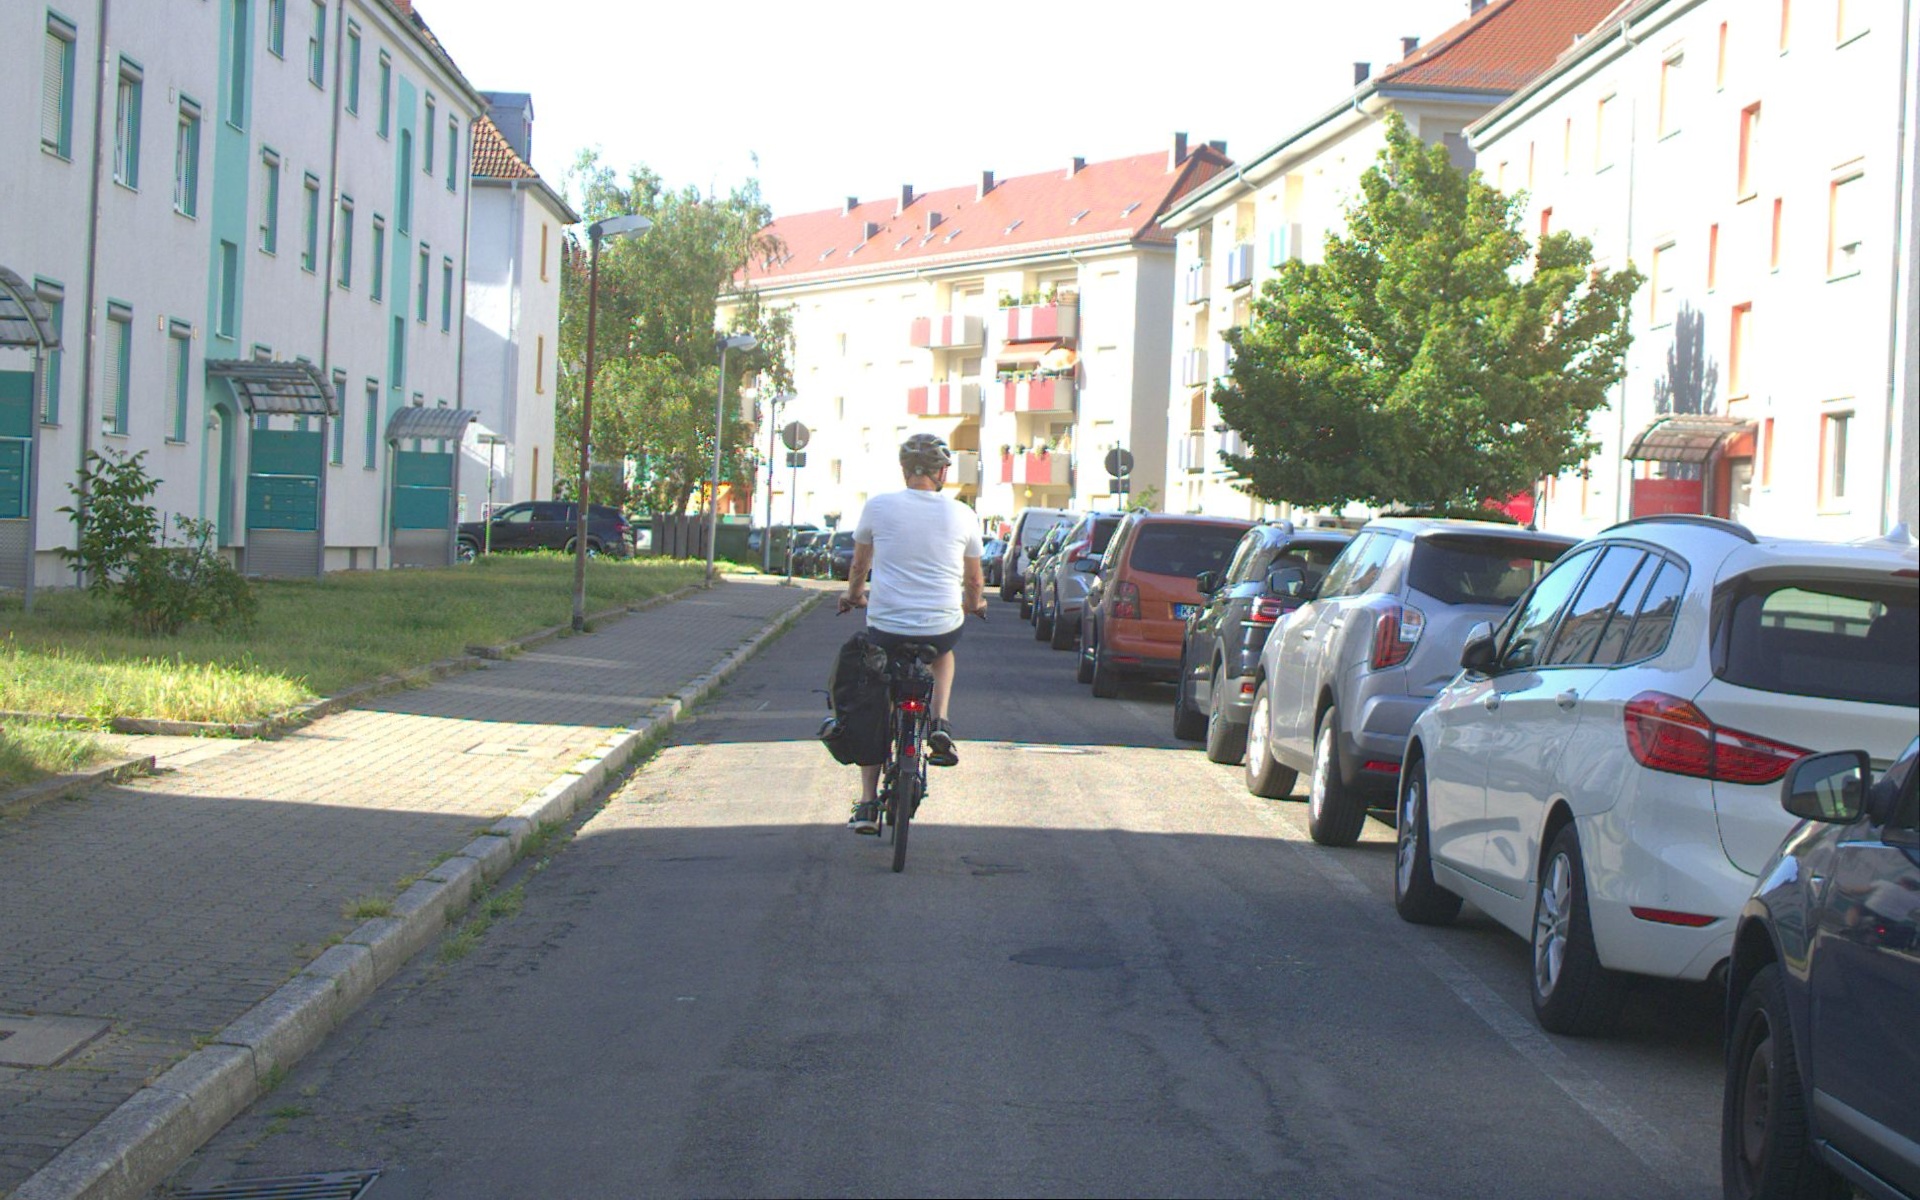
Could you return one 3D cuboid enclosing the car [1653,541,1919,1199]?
[{"bbox_3d":[2.504,0.697,6.167,1.641,1.493,4.157,2,2,0],"label":"car"}]

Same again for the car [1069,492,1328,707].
[{"bbox_3d":[2.050,-0.061,30.685,1.862,1.662,4.127,4,1,-1],"label":"car"}]

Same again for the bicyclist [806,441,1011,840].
[{"bbox_3d":[-0.235,0.156,14.704,0.808,1.638,0.899,1,1,-3],"label":"bicyclist"}]

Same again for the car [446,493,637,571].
[{"bbox_3d":[-9.592,-1.566,79.002,4.230,1.632,1.583,2,2,-4],"label":"car"}]

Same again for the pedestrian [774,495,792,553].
[{"bbox_3d":[-4.825,-2.081,93.827,0.434,1.569,0.543,2,1,-1],"label":"pedestrian"}]

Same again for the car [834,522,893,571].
[{"bbox_3d":[-2.751,-1.532,97.798,1.469,1.331,3.141,-1,2,-5],"label":"car"}]

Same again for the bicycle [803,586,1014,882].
[{"bbox_3d":[-0.254,0.536,14.873,0.808,1.124,2.102,1,2,-3],"label":"bicycle"}]

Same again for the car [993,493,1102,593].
[{"bbox_3d":[1.623,-1.104,64.768,1.674,1.732,3.943,3,2,-3],"label":"car"}]

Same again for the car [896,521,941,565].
[{"bbox_3d":[-1.555,-2.121,126.931,1.469,1.511,3.078,3,2,-3],"label":"car"}]

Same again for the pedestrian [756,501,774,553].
[{"bbox_3d":[-5.329,-1.995,93.758,0.434,1.422,0.543,2,1,-1],"label":"pedestrian"}]

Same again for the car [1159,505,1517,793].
[{"bbox_3d":[2.418,0.239,23.029,1.712,1.590,4.398,5,2,-1],"label":"car"}]

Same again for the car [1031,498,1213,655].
[{"bbox_3d":[1.886,-0.330,41.269,1.700,1.665,4.380,4,2,-2],"label":"car"}]

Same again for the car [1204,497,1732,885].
[{"bbox_3d":[2.461,0.347,17.786,1.750,1.612,4.453,4,2,-3],"label":"car"}]

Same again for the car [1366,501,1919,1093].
[{"bbox_3d":[2.599,0.507,11.696,1.690,1.569,4.435,3,2,-2],"label":"car"}]

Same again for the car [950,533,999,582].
[{"bbox_3d":[0.465,-1.428,114.245,1.381,1.491,3.078,3,2,-3],"label":"car"}]

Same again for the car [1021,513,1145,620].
[{"bbox_3d":[1.772,-0.516,50.523,1.559,1.406,3.934,3,2,-1],"label":"car"}]
